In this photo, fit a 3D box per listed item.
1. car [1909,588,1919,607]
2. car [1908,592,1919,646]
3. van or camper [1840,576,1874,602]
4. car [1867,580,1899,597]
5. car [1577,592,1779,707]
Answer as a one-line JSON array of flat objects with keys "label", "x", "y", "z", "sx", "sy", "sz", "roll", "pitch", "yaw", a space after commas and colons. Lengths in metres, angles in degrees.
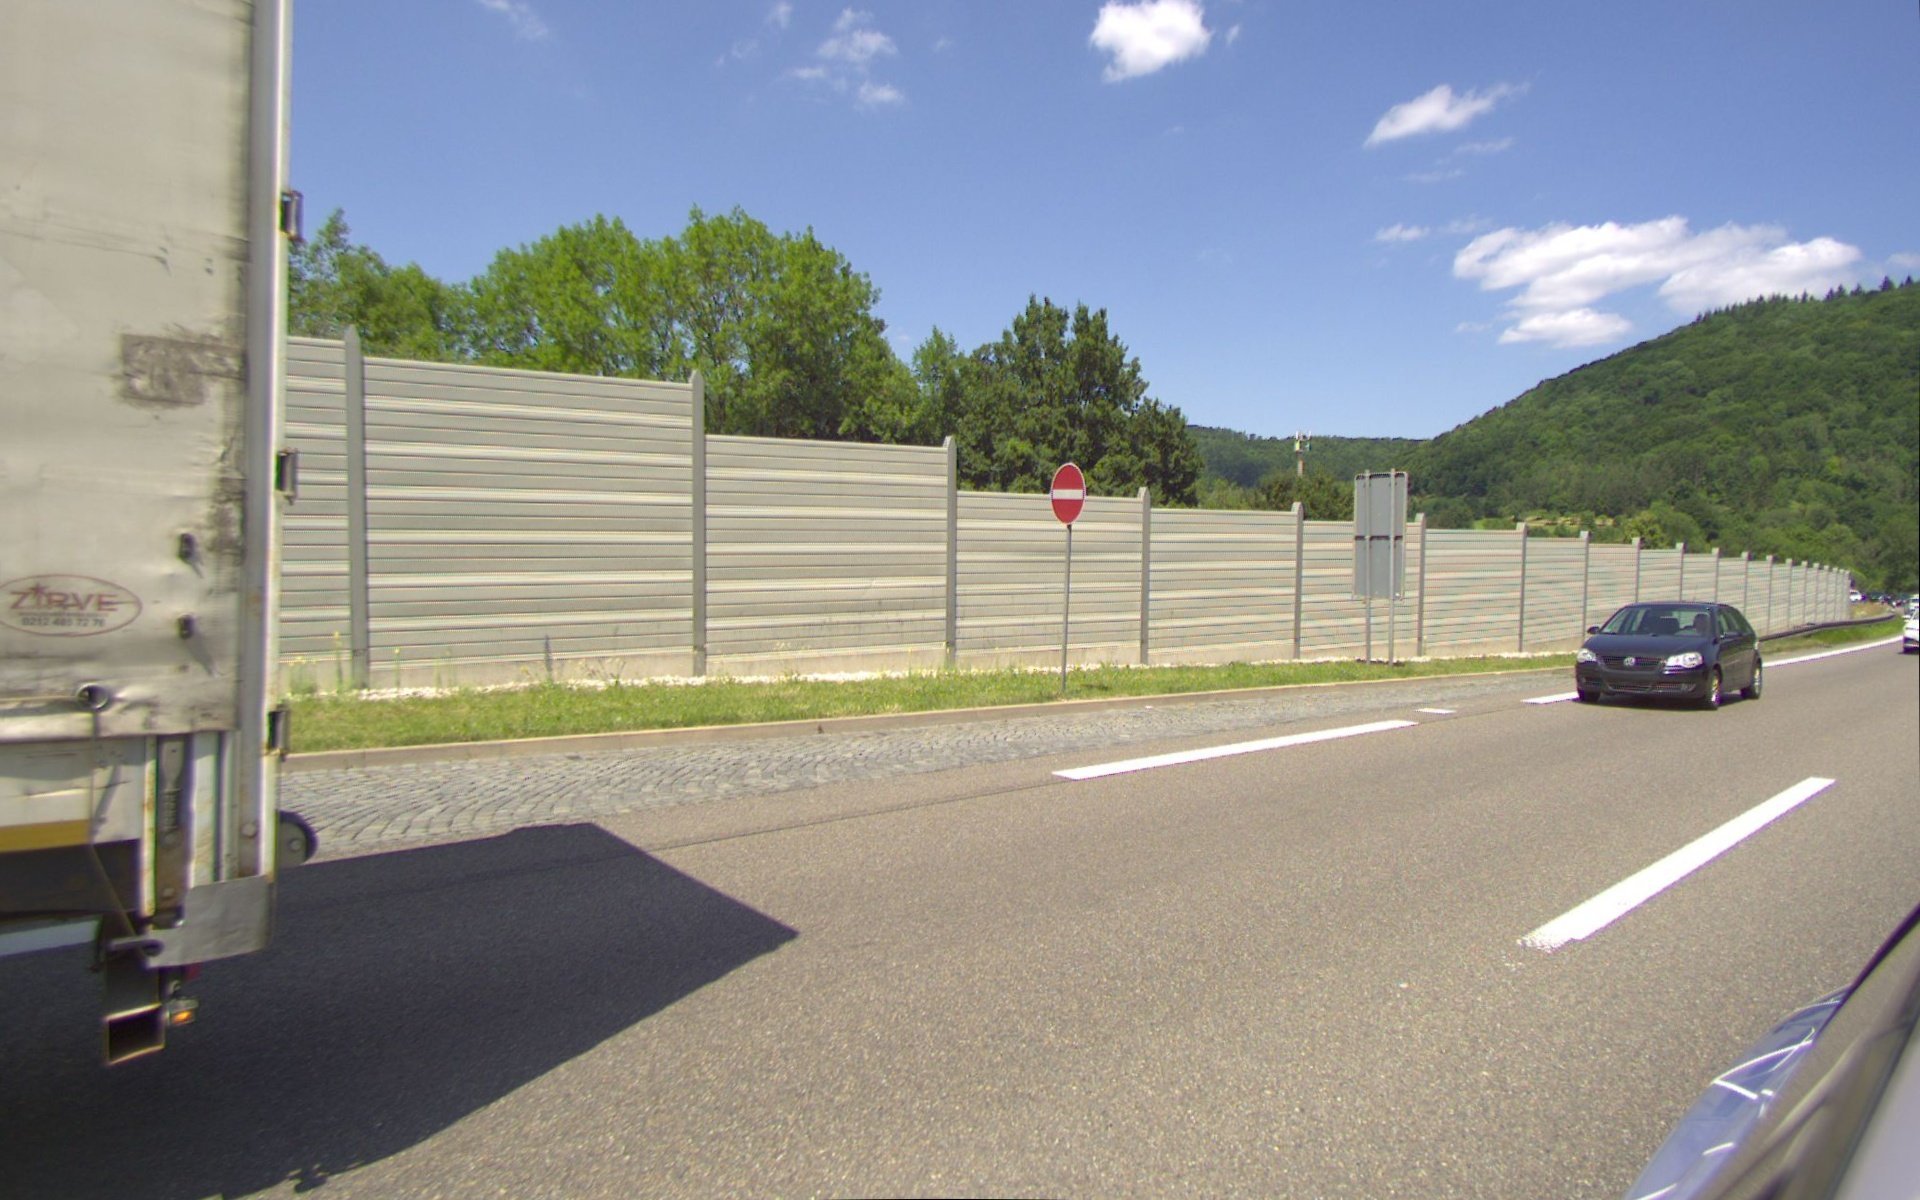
[{"label": "car", "x": 82.687, "y": -0.256, "z": 86.358, "sx": 1.685, "sy": 1.552, "sz": 3.640, "roll": -3, "pitch": -2, "yaw": 30}, {"label": "car", "x": 28.680, "y": 0.550, "z": 29.013, "sx": 3.659, "sy": 1.448, "sz": 1.905, "roll": -1, "pitch": 3, "yaw": -43}, {"label": "van or camper", "x": 107.070, "y": -1.317, "z": 120.900, "sx": 1.893, "sy": 3.066, "sz": 4.827, "roll": 0, "pitch": 0, "yaw": 28}, {"label": "car", "x": 113.960, "y": -1.428, "z": 124.986, "sx": 1.982, "sy": 2.039, "sz": 3.959, "roll": 0, "pitch": 0, "yaw": 29}, {"label": "car", "x": 10.535, "y": 0.617, "z": 14.763, "sx": 3.774, "sy": 1.440, "sz": 1.693, "roll": 0, "pitch": 1, "yaw": -43}]
